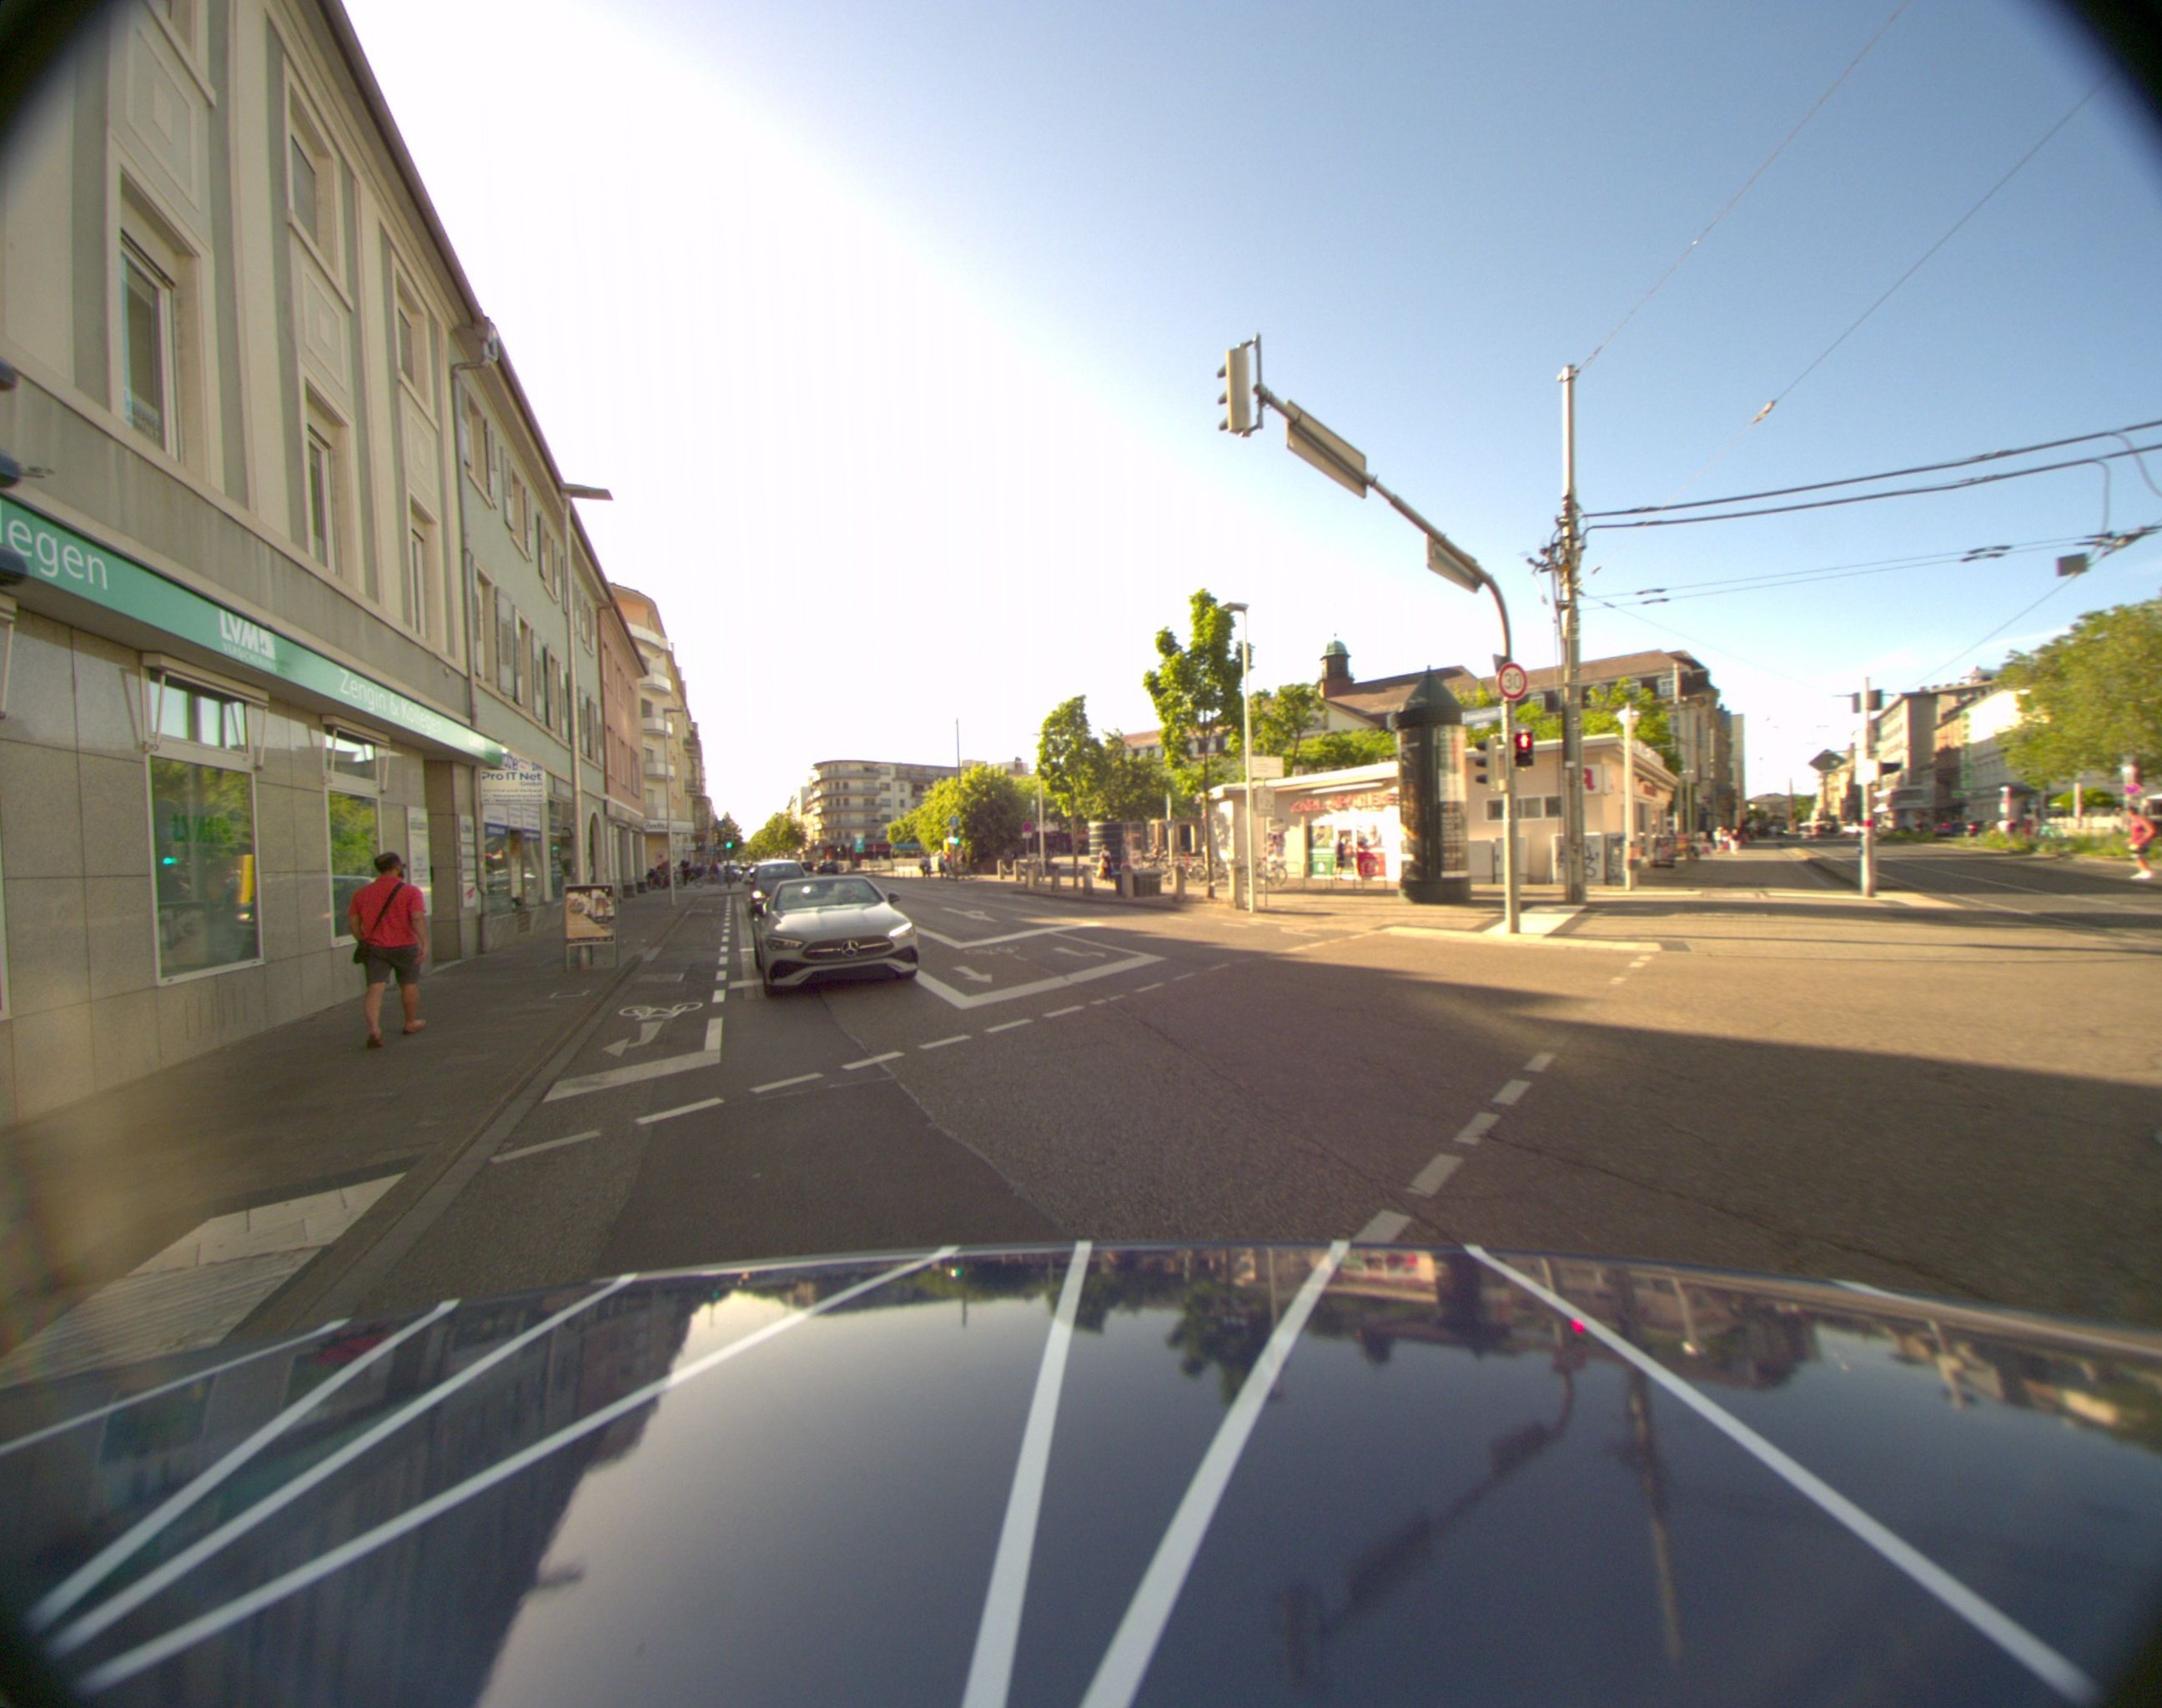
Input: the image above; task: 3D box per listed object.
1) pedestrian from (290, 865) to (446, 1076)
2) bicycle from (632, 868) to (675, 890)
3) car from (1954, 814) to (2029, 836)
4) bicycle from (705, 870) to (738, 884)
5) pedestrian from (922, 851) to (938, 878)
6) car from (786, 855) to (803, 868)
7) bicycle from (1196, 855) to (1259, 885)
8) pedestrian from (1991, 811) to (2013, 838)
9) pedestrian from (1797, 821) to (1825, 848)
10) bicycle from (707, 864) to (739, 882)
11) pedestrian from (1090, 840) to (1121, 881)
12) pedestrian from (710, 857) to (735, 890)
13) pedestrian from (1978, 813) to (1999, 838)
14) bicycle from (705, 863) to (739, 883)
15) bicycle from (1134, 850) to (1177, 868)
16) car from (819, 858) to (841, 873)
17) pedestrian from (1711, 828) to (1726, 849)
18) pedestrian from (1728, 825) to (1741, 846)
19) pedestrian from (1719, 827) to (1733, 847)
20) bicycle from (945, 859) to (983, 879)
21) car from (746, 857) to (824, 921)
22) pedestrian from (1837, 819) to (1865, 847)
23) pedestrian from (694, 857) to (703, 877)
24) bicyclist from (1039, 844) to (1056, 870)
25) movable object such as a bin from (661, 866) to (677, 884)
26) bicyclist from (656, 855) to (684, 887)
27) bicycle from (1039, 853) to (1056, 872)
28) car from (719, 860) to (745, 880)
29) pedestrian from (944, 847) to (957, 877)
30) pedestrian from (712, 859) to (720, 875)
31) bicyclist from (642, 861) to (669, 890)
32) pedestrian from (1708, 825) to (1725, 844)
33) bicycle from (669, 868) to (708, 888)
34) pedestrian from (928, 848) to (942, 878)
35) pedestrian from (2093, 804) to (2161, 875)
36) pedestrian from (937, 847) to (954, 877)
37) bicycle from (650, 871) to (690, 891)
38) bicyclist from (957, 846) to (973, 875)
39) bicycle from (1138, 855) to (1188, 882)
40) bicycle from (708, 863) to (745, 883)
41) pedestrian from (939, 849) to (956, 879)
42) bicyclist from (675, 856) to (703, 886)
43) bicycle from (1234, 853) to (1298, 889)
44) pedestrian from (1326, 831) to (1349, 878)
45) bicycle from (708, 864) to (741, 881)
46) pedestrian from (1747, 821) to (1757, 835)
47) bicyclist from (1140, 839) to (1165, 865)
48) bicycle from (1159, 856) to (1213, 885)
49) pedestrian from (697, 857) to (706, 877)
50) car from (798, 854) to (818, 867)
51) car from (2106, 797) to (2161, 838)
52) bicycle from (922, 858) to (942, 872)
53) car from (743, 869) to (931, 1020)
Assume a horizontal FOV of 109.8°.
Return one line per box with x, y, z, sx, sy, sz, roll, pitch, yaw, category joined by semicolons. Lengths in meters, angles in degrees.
-6.242;0.955;6.716;0.693;1.693;0.910;-2;1;-23;pedestrian
-24.254;1.410;43.108;1.919;1.090;0.733;-3;1;-2;bicycle
80.617;-2.523;67.371;3.989;1.787;2.004;-1;1;42;car
-23.790;1.502;50.277;1.851;0.826;0.740;-3;1;-30;bicycle
-9.475;0.641;47.706;0.687;1.664;0.697;-2;1;7;pedestrian
-43.817;1.130;116.160;2.003;1.935;4.773;0;0;-25;car
5.340;0.577;27.766;2.019;0.996;0.887;-3;1;-10;bicycle
59.439;-1.891;49.037;0.706;1.705;0.580;-2;1;-5;pedestrian
76.483;-2.044;79.640;1.381;2.774;1.946;-3;2;-40;pedestrian
-25.925;1.356;55.010;2.053;1.174;0.682;-2;1;-23;bicycle
1.043;0.266;32.811;0.903;1.688;1.084;-3;1;-20;pedestrian
-18.890;1.026;40.025;0.814;1.649;0.767;-3;1;12;pedestrian
59.362;-1.854;49.704;0.706;1.615;0.580;-2;1;-5;pedestrian
-23.925;1.245;50.589;1.950;1.205;0.931;-3;1;-30;bicycle
4.633;0.322;47.351;2.572;1.001;0.784;-2;1;-1;bicycle
-25.450;1.141;76.934;1.658;1.389;4.035;3;-1;-24;car
39.325;-0.980;46.843;0.621;1.266;0.781;-1;1;35;pedestrian
40.177;-1.135;46.705;0.508;1.266;0.721;-1;1;33;pedestrian
45.184;-1.206;53.232;0.689;1.372;0.781;-1;1;35;pedestrian
-7.033;0.885;45.710;2.175;1.066;0.763;-3;1;-3;bicycle
-9.182;0.994;23.415;2.002;1.718;3.992;-3;1;-24;car
79.247;-2.160;78.202;1.295;2.774;1.835;-3;2;-40;pedestrian
-38.560;1.277;76.589;0.674;1.942;0.613;-3;1;-27;pedestrian
-2.172;0.172;48.716;0.943;1.599;1.169;-2;1;-6;bicyclist
-25.779;1.312;47.529;0.811;1.106;0.619;-3;2;-26;movable object such as a bin
-22.970;0.951;42.474;0.751;1.751;1.143;-1;2;44;bicyclist
-2.165;0.515;48.816;0.943;1.126;2.477;-2;1;-6;bicycle
-28.044;1.259;61.079;1.696;1.390;3.992;-3;1;-23;car
-8.415;0.516;49.036;0.610;1.907;0.782;-3;1;-22;pedestrian
-44.661;1.542;92.974;0.696;1.895;0.904;-3;1;-27;pedestrian
-24.118;1.187;43.090;1.030;1.574;0.726;-3;1;-2;bicyclist
49.902;-1.536;59.663;0.944;1.456;0.781;-1;2;43;pedestrian
-22.525;1.375;43.630;1.913;1.014;0.560;-2;1;3;bicycle
-9.313;0.559;48.441;0.651;1.847;0.625;-2;1;7;pedestrian
25.528;-0.353;18.340;0.944;1.654;0.918;-2;1;16;pedestrian
-8.419;0.511;47.113;0.781;1.801;0.590;-1;2;40;pedestrian
-22.992;1.481;42.490;0.563;0.988;1.825;-1;1;44;bicycle
-6.966;0.389;45.681;0.805;1.639;0.993;-3;1;-2;bicyclist
3.478;0.608;32.160;1.892;0.996;0.764;-3;1;-16;bicycle
-24.166;1.288;51.808;2.146;1.237;0.709;-3;1;-29;bicycle
-8.401;0.628;47.982;0.782;1.801;0.590;-2;1;22;pedestrian
-22.459;0.959;43.558;1.131;1.675;0.726;-2;1;3;bicyclist
6.240;0.560;25.659;1.997;1.082;0.752;-3;1;-23;bicycle
9.537;0.014;28.260;0.521;1.699;0.610;-2;1;-25;pedestrian
-25.357;1.304;54.095;2.030;1.143;0.714;-2;1;-23;bicycle
63.645;-2.470;72.098;0.689;1.372;0.781;-1;2;43;pedestrian
4.453;-0.130;47.326;1.371;1.588;0.982;-3;1;0;bicyclist
4.084;0.628;29.621;1.892;0.996;0.764;-3;1;-16;bicycle
-37.971;1.287;76.038;0.696;1.895;0.904;-3;1;-27;pedestrian
-35.038;0.850;97.369;1.756;1.415;4.245;-5;2;-27;car
54.821;-1.902;38.874;1.994;2.002;4.008;-2;1;41;car
-11.989;0.894;61.179;1.532;1.025;0.364;-3;1;-9;bicycle
-3.632;1.043;10.706;1.913;1.454;4.355;-5;2;-25;car
